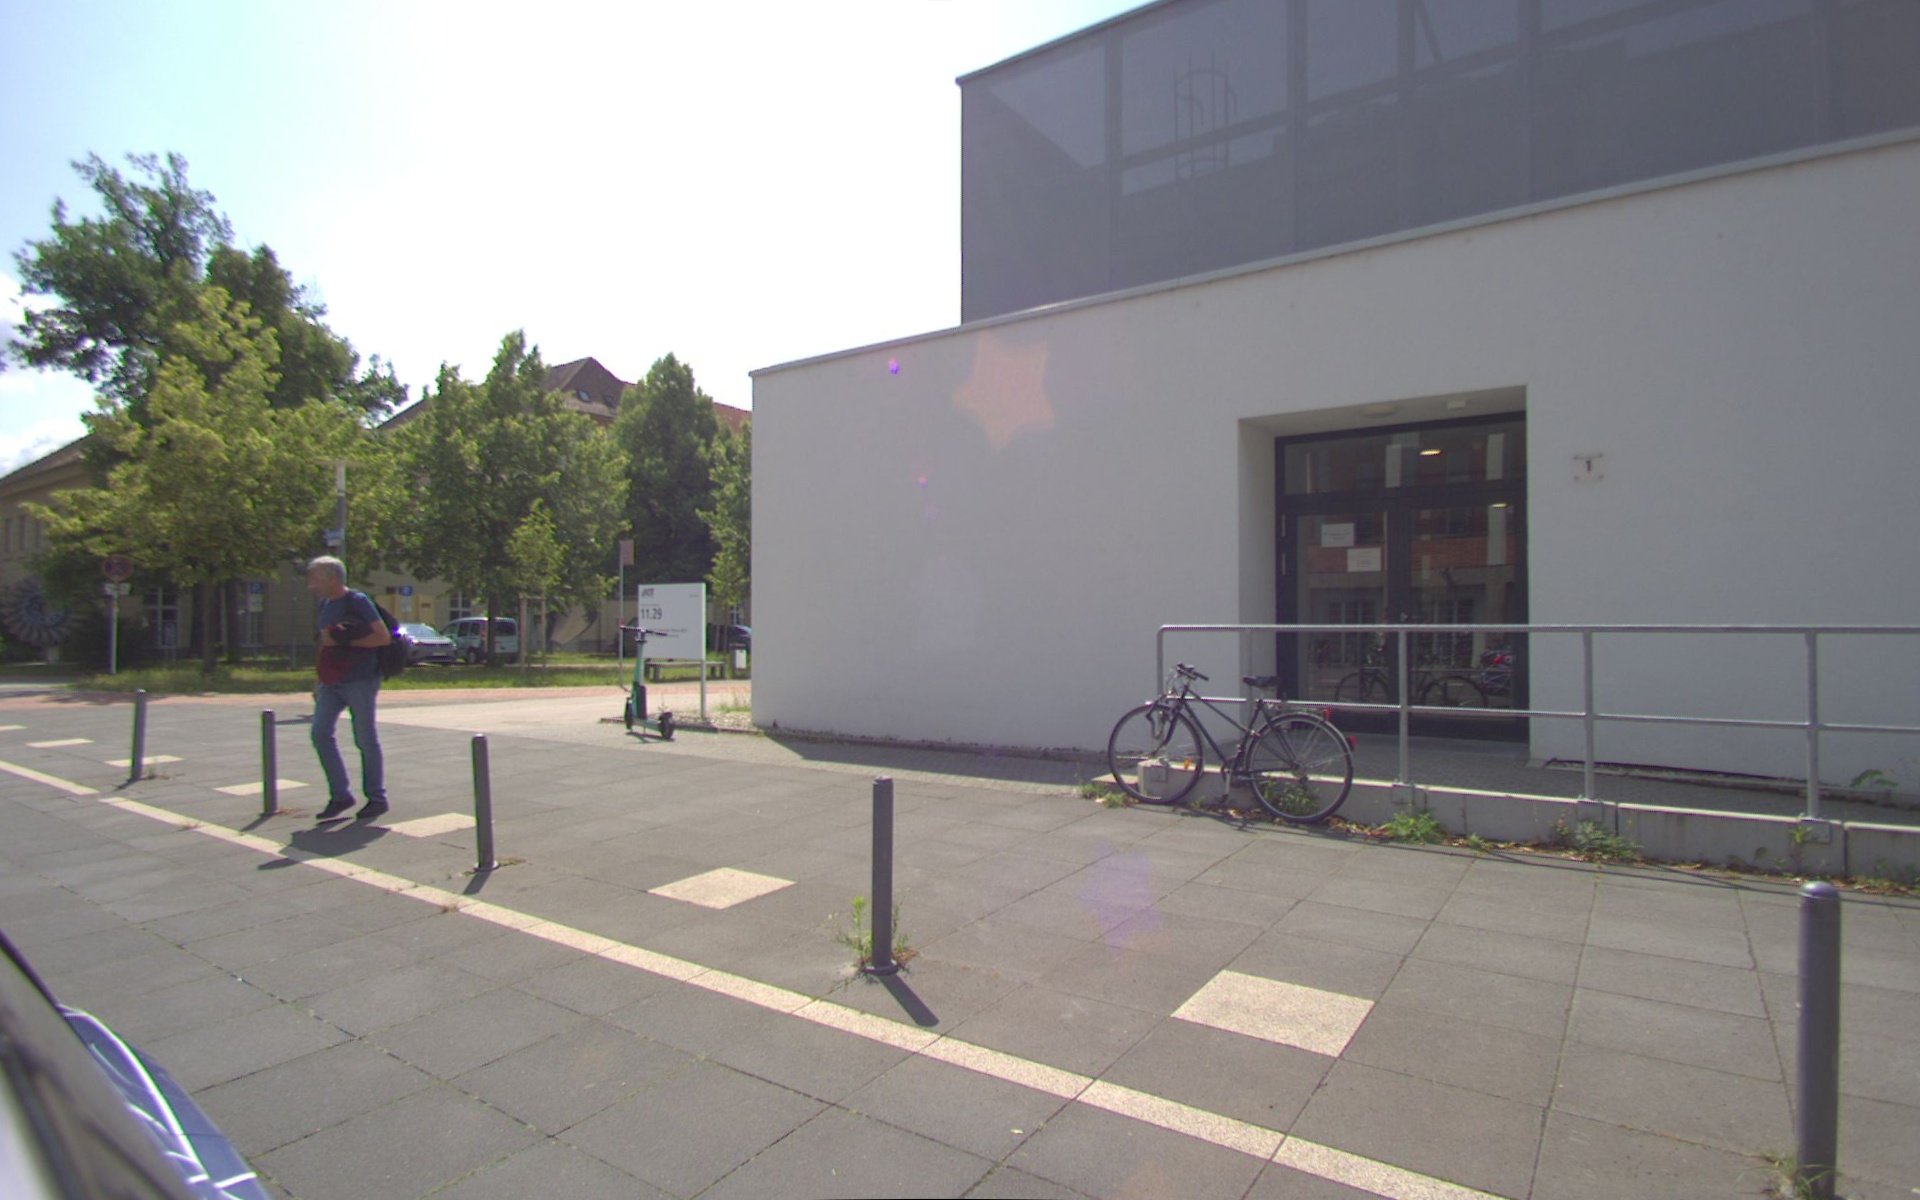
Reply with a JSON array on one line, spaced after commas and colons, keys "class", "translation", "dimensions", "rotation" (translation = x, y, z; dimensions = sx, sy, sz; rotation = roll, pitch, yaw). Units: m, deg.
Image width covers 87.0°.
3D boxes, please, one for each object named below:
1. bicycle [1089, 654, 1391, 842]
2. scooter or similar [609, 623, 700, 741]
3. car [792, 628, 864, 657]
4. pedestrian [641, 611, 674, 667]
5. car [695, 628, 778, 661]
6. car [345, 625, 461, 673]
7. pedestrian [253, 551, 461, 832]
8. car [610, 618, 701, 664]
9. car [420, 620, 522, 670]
[{"class": "bicycle", "translation": [1.822, 0.920, 6.809], "dimensions": [1.897, 1.069, 0.538], "rotation": [-2, -2, 40]}, {"class": "scooter or similar", "translation": [-3.501, 0.902, 11.556], "dimensions": [0.476, 1.272, 1.315], "rotation": [1, -2, -42]}, {"class": "car", "translation": [-7.721, 2.439, 58.947], "dimensions": [4.119, 1.553, 1.789], "rotation": [0, -1, 38]}, {"class": "pedestrian", "translation": [-10.097, 1.296, 33.767], "dimensions": [0.858, 1.800, 0.638], "rotation": [1, 2, -32]}, {"class": "car", "translation": [-11.335, 2.208, 51.341], "dimensions": [4.114, 1.553, 1.791], "rotation": [0, -1, 34]}, {"class": "car", "translation": [-20.746, 1.778, 37.642], "dimensions": [4.638, 1.593, 1.878], "rotation": [0, -1, 34]}, {"class": "pedestrian", "translation": [-4.305, 0.613, 7.240], "dimensions": [1.140, 1.831, 0.817], "rotation": [-1, -2, 30]}, {"class": "car", "translation": [-14.220, 1.880, 47.152], "dimensions": [4.521, 1.975, 1.789], "rotation": [0, -2, 38]}, {"class": "car", "translation": [-19.146, 1.711, 39.599], "dimensions": [4.114, 1.799, 1.791], "rotation": [0, -1, 34]}]
